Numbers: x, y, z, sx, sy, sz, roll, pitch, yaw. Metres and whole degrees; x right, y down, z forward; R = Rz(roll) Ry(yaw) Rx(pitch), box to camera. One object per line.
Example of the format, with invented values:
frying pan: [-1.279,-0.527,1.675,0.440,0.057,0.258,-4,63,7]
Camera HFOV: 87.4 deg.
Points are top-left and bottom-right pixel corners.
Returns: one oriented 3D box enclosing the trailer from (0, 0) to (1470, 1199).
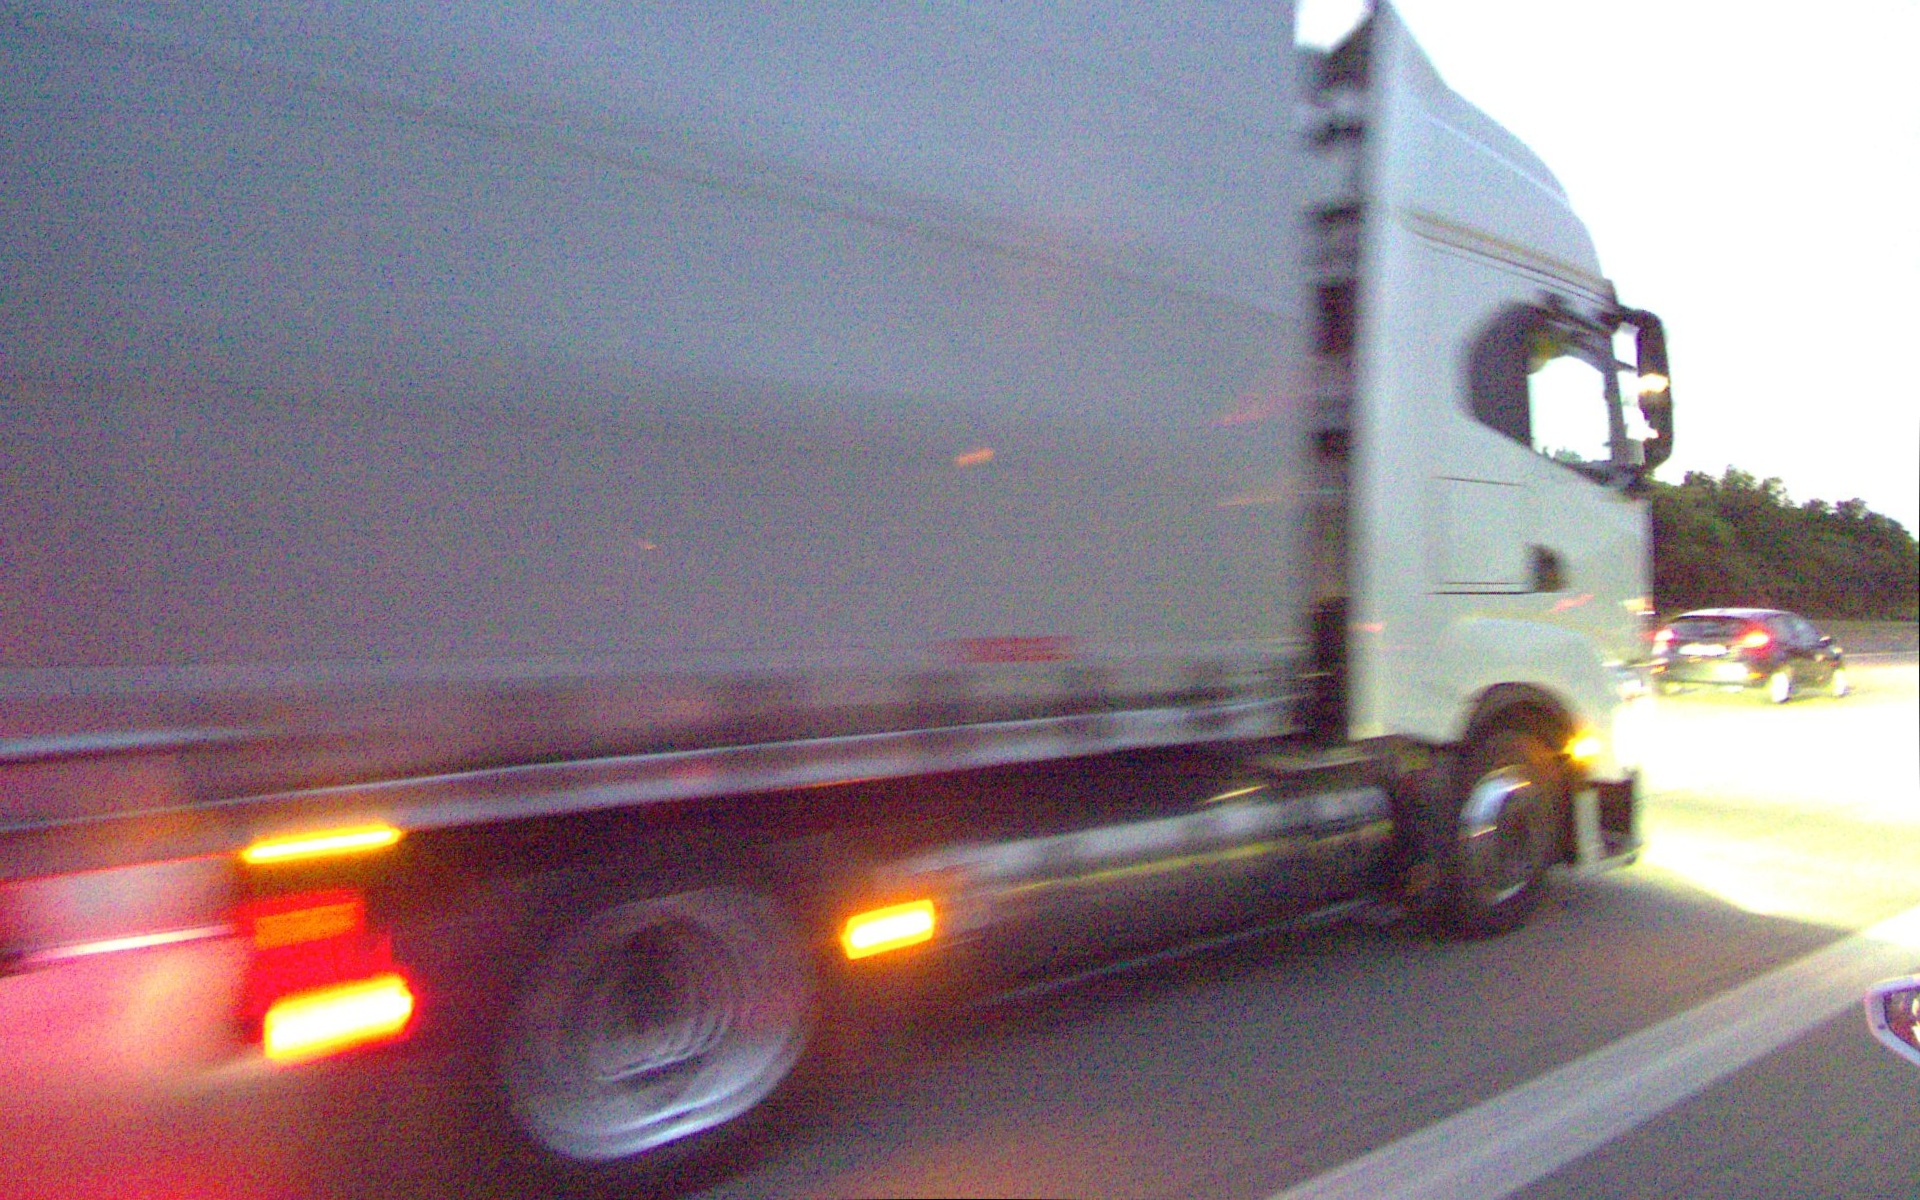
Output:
trailer: [-4.928,-0.544,1.099,14.656,3.967,2.758,1,0,-33]

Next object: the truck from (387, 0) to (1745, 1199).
truck: [0.828,-0.475,4.803,6.087,3.954,2.763,1,0,-33]

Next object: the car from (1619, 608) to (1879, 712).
car: [13.345,0.919,16.931,4.496,1.518,1.983,1,0,-31]
